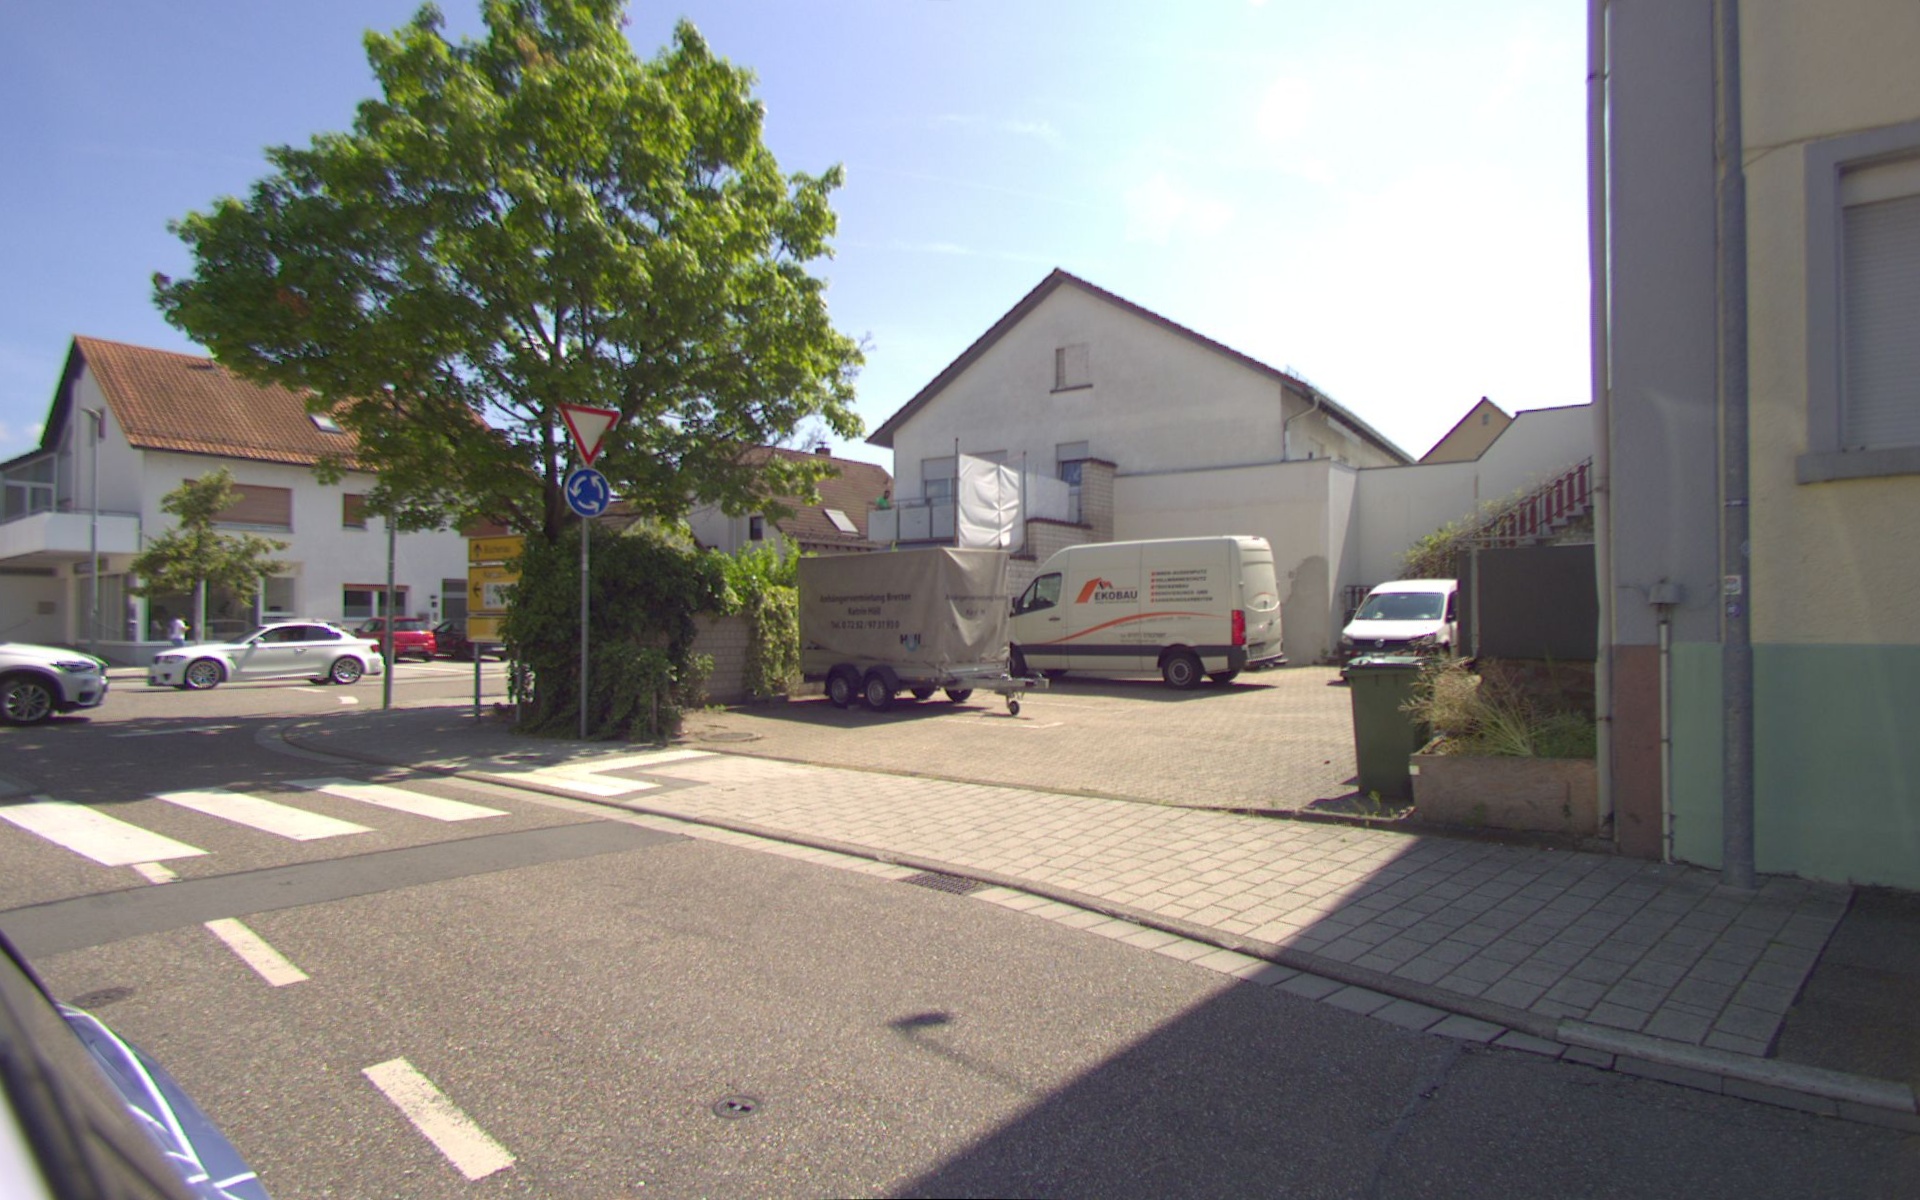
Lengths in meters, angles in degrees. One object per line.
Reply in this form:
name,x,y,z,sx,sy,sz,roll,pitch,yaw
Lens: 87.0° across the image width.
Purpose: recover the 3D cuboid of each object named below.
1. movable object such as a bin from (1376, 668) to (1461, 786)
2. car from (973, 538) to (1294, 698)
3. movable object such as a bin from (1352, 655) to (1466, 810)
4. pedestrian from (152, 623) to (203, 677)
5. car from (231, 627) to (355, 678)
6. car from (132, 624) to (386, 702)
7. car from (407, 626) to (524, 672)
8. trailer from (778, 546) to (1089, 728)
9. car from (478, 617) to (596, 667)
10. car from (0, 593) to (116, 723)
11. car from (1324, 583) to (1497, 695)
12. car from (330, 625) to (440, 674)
movable object such as a bin,3.931,1.070,8.675,0.546,0.935,0.474,-1,-2,39
car,3.084,0.336,18.868,5.639,2.586,1.918,-1,0,38
movable object such as a bin,3.438,0.982,7.752,0.658,1.087,0.593,-1,-2,39
pedestrian,-23.955,1.510,30.992,0.944,1.595,0.757,-1,0,3
car,-20.914,1.586,31.692,4.470,1.461,1.813,-1,-1,37
car,-15.348,1.350,22.338,1.879,1.460,4.278,-6,-4,39
car,-17.244,1.651,35.219,4.470,1.461,1.813,-1,-1,37
trailer,-0.503,0.511,15.267,4.517,2.353,1.861,-1,0,38
car,-15.928,1.539,38.025,4.740,1.752,1.963,-1,-1,37
car,-13.886,0.810,13.156,4.302,1.658,1.850,-2,0,-36
car,8.427,0.606,18.701,1.903,1.772,4.524,-1,1,38
car,-19.148,1.596,33.645,3.956,1.488,1.731,-1,-1,37
